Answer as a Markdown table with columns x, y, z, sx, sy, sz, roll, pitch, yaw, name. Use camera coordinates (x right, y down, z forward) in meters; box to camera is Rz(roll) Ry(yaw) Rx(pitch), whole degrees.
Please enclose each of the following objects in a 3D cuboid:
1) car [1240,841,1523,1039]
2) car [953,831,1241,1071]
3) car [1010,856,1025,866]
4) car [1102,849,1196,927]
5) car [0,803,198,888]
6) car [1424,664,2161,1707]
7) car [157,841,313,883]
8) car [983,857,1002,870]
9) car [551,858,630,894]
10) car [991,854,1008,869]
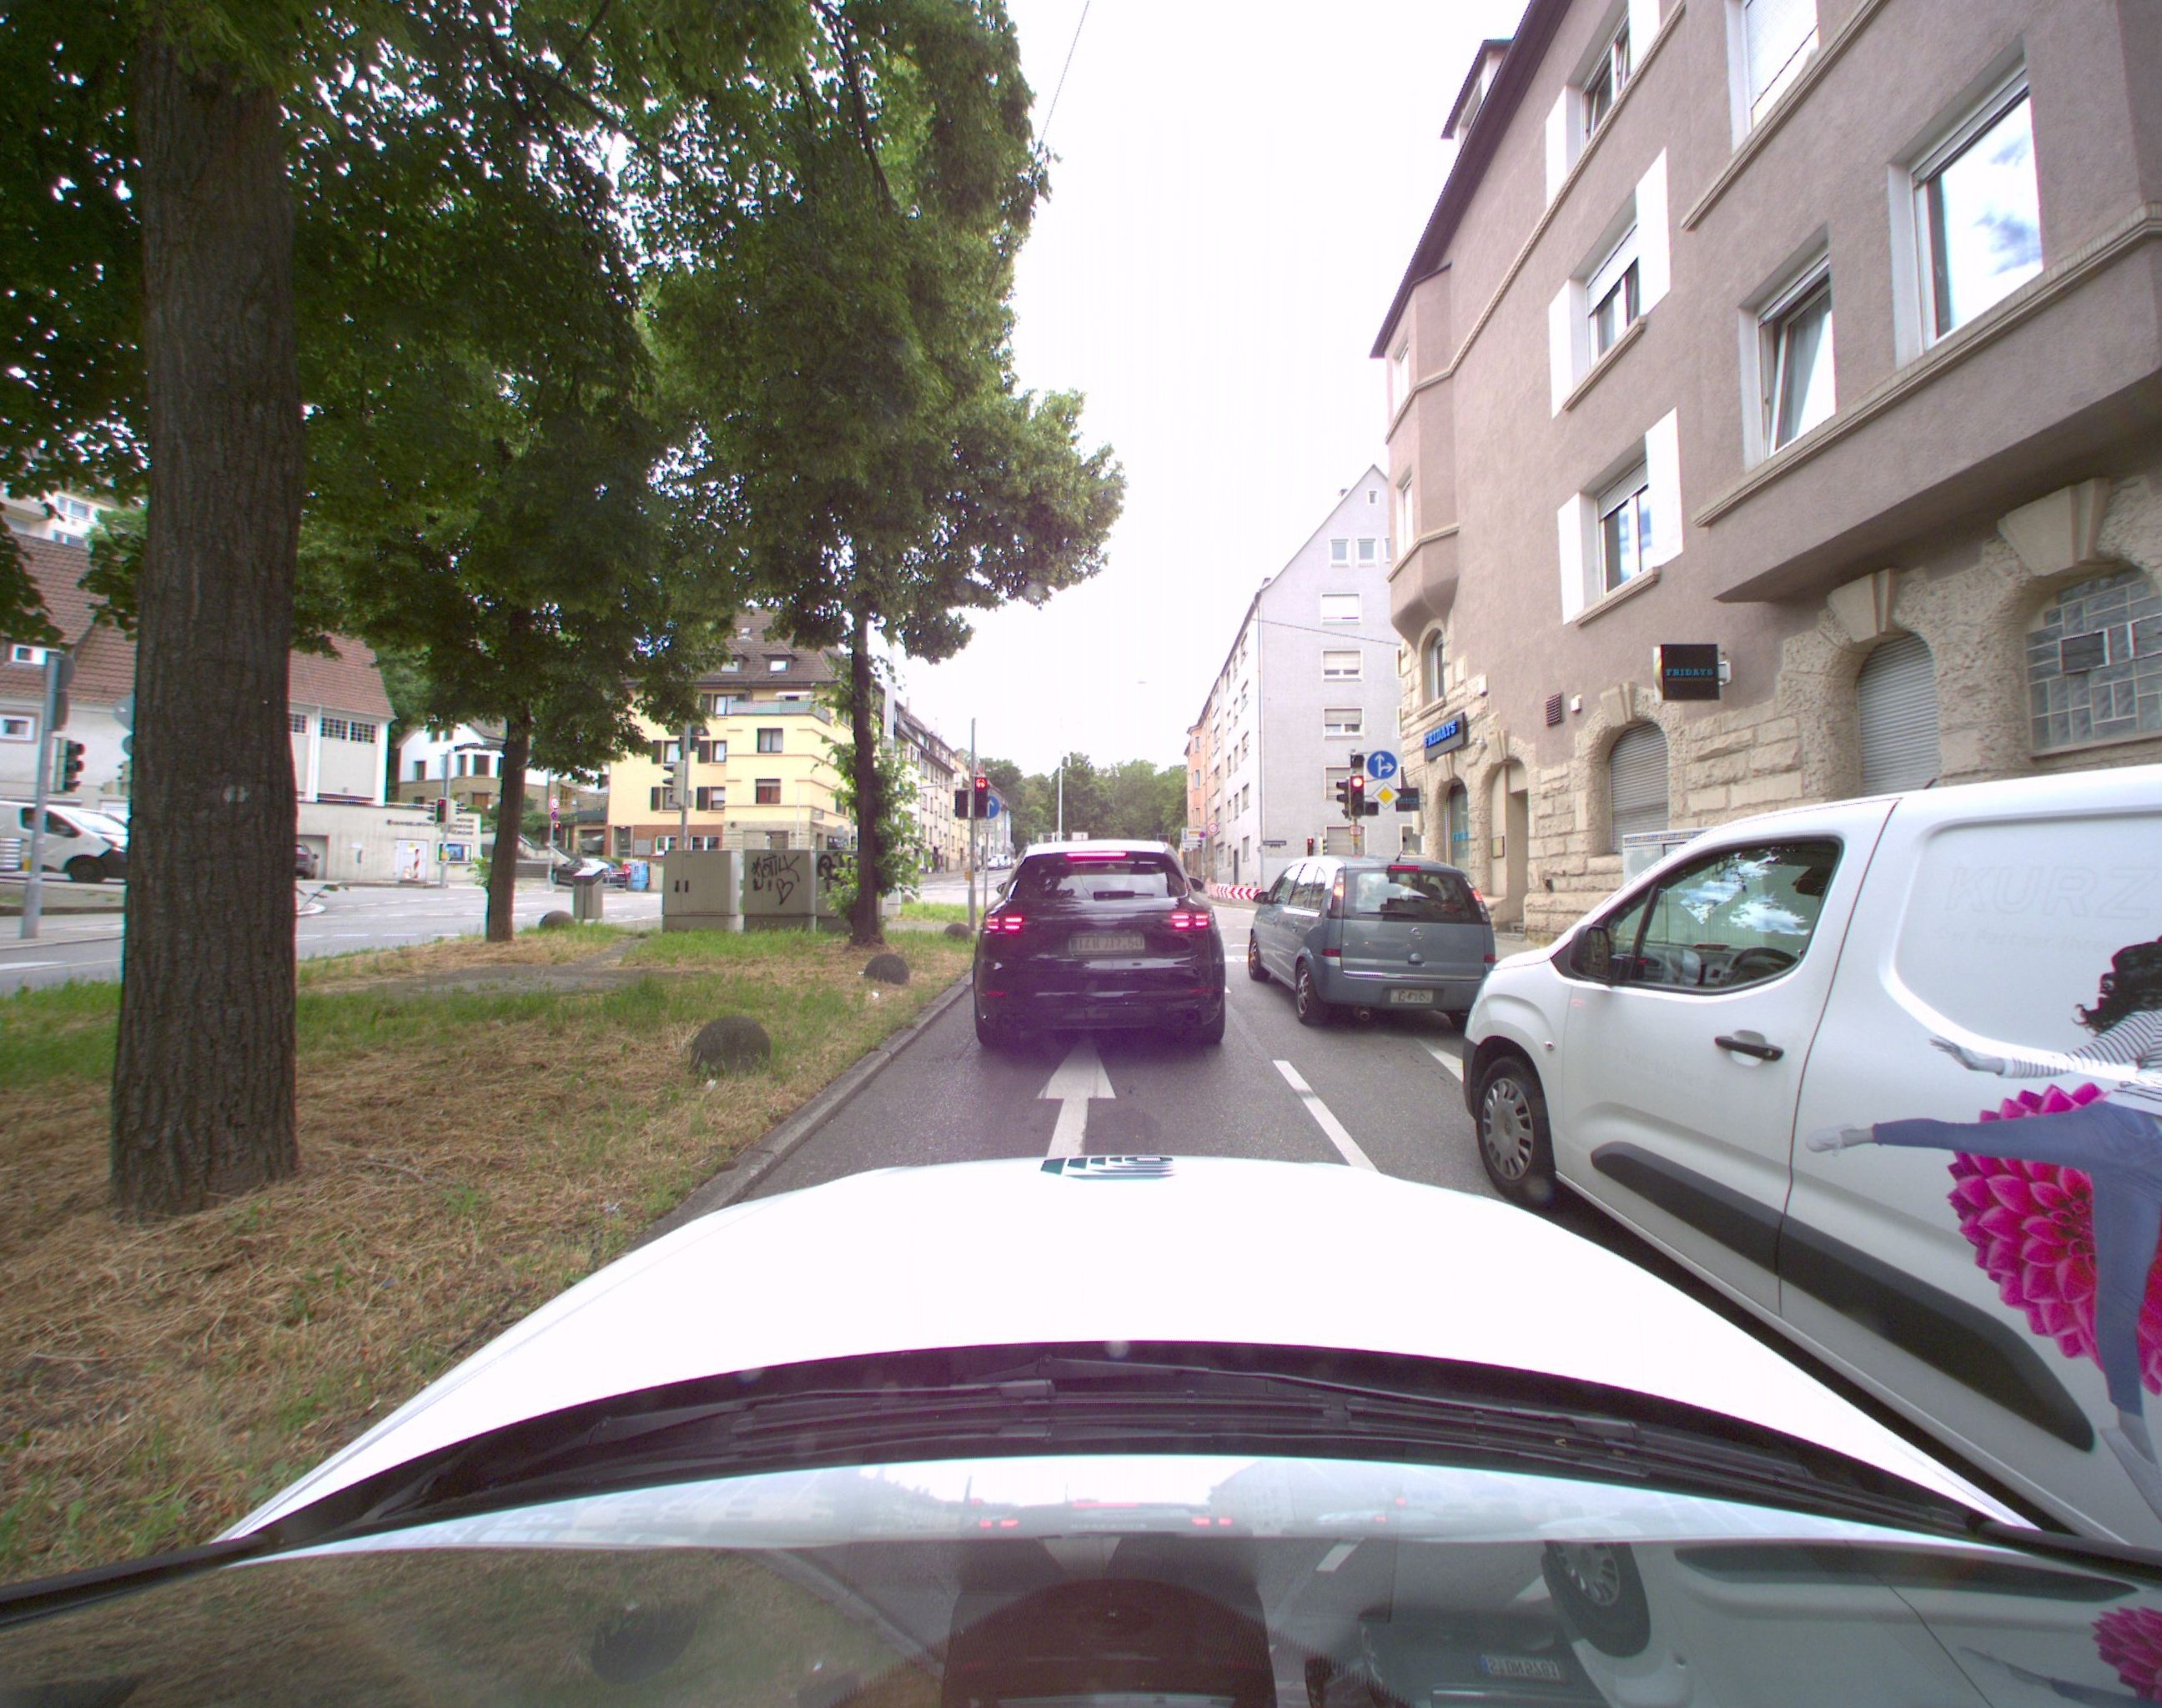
| x | y | z | sx | sy | sz | roll | pitch | yaw | name |
| --- | --- | --- | --- | --- | --- | --- | --- | --- | --- |
| 2.909 | 0.745 | 8.740 | 1.746 | 1.593 | 3.632 | 3 | 0 | 2 | car |
| 0.230 | 0.674 | 7.692 | 1.986 | 1.653 | 4.004 | -1 | 0 | 3 | car |
| -9.829 | 1.115 | 126.206 | 1.788 | 1.510 | 4.001 | 0 | 0 | 1 | car |
| 1.569 | 0.753 | 19.390 | 1.986 | 1.653 | 4.003 | -1 | -1 | 3 | car |
| -26.868 | -0.228 | 20.961 | 5.185 | 2.064 | 1.982 | 2 | -1 | -21 | car |
| 2.766 | 0.663 | 2.491 | 1.840 | 1.825 | 5.029 | 1 | -2 | 7 | car |
| -32.501 | 0.308 | 31.478 | 4.021 | 1.510 | 1.779 | 1 | -1 | -41 | car |
| -10.881 | 1.115 | 99.803 | 1.788 | 1.510 | 4.001 | 0 | 0 | 1 | car |
| -23.967 | 1.079 | 39.764 | 3.948 | 1.665 | 1.894 | -2 | -2 | 36 | car |
| -10.474 | 0.950 | 104.822 | 1.788 | 1.810 | 4.001 | 0 | 0 | 1 | car |
